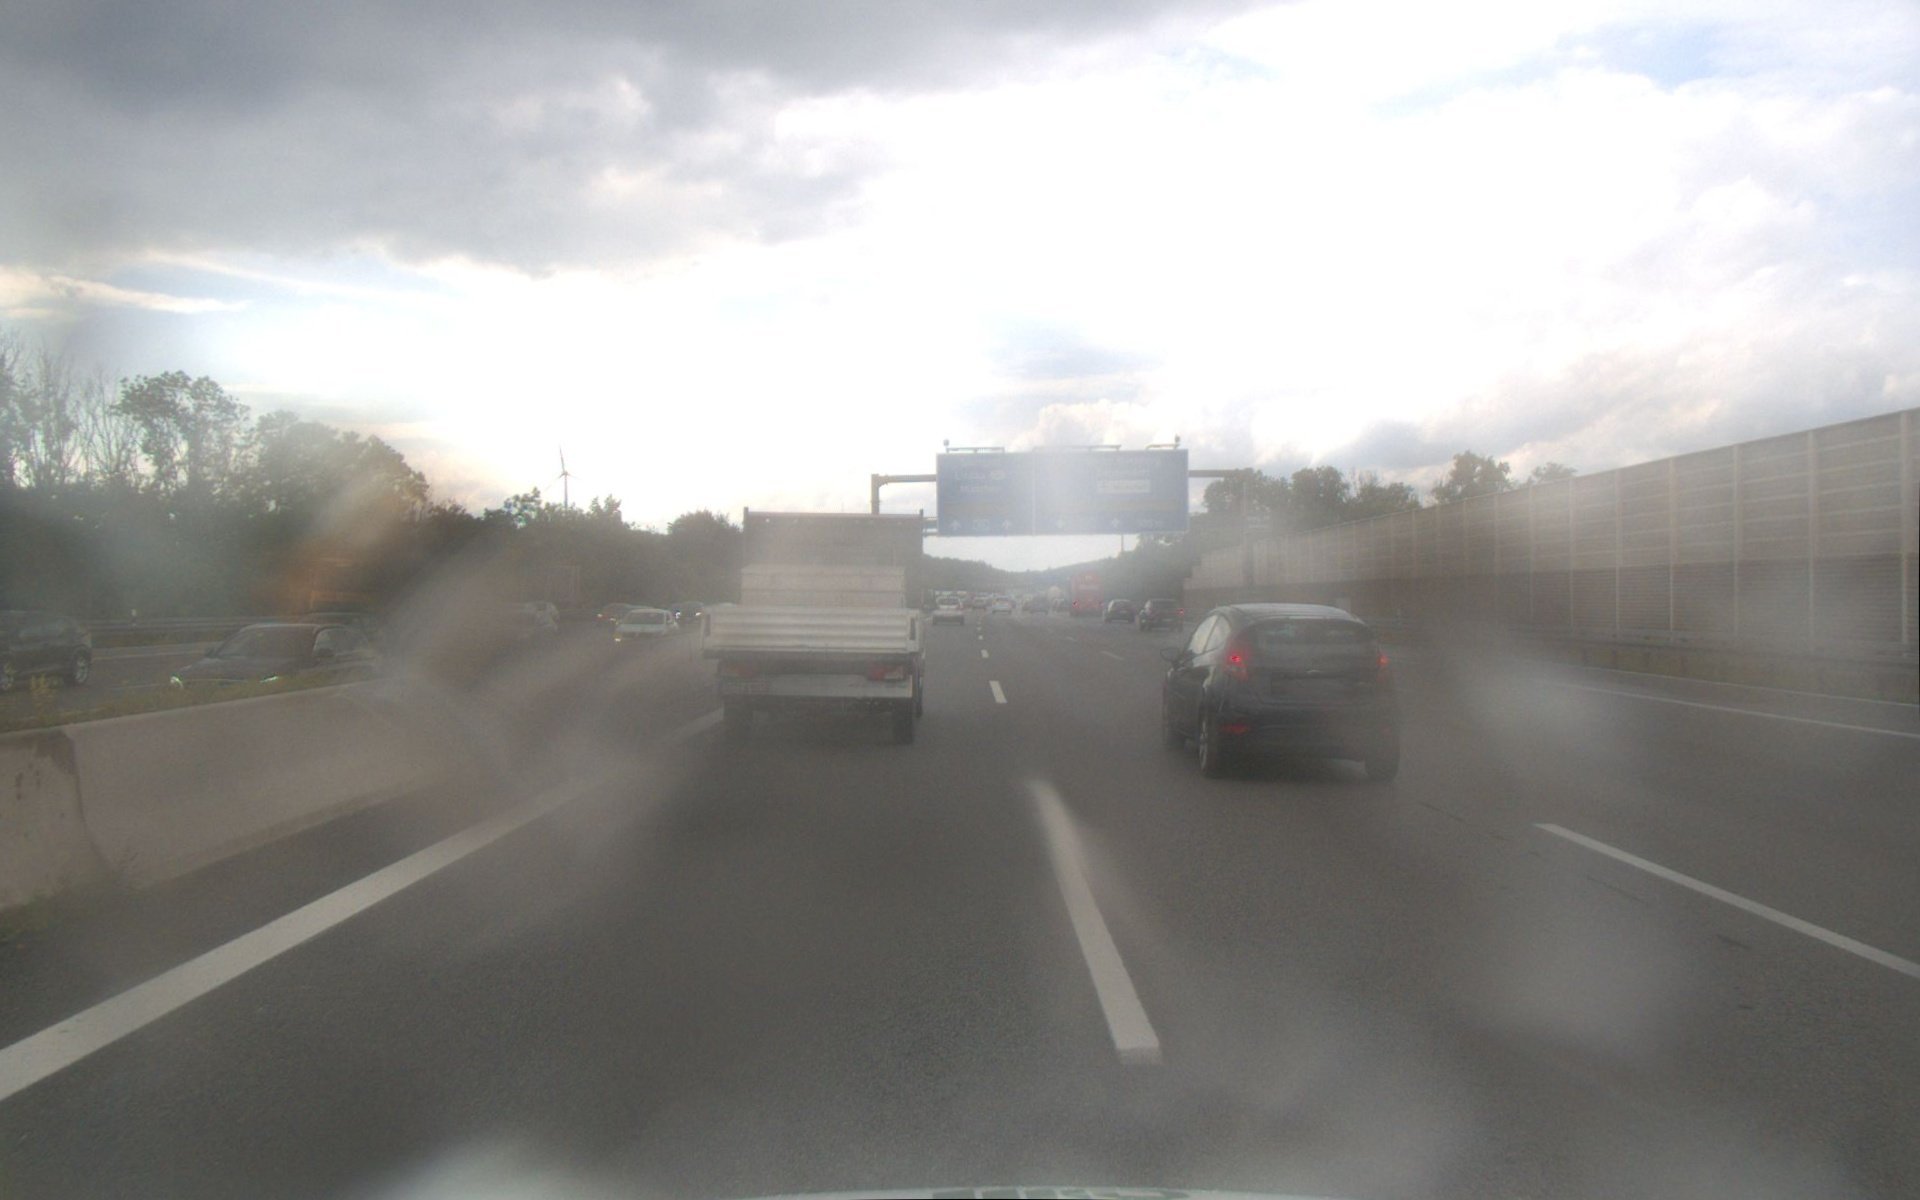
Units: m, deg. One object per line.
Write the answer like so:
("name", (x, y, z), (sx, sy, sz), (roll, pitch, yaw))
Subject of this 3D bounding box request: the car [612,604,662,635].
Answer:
("car", (-17.786, 1.053, 91.280), (1.687, 1.631, 4.913), (2, 0, 0))

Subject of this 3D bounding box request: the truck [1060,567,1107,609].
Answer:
("truck", (11.340, -1.145, 153.028), (3.089, 3.664, 12.696), (1, 1, -1))

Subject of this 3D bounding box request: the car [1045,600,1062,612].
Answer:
("car", (13.169, 0.877, 232.655), (1.928, 1.588, 4.431), (0, 0, -2))

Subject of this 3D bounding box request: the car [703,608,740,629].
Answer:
("car", (-17.413, 1.349, 120.781), (1.941, 1.520, 4.913), (0, 0, 0))

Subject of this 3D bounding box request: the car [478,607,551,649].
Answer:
("car", (-18.298, 1.132, 68.133), (1.687, 1.631, 4.519), (2, 0, 0))

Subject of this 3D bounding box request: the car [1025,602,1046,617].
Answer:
("car", (8.147, 1.020, 178.249), (1.928, 1.588, 4.431), (0, 0, -2))

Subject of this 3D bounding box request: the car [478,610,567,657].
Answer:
("car", (-14.902, 1.112, 56.621), (1.687, 1.495, 4.849), (2, 0, 0))

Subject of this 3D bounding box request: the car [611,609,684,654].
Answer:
("car", (-10.846, 1.053, 57.699), (1.688, 1.453, 4.648), (2, 0, -1))

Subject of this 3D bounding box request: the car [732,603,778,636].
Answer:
("car", (-10.472, 0.976, 84.834), (1.687, 1.631, 4.913), (2, 0, 0))

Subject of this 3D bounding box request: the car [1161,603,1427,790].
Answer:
("car", (2.897, 0.766, 15.190), (1.682, 1.442, 4.279), (0, 0, 1))

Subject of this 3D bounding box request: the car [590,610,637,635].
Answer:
("car", (-21.887, 1.407, 104.607), (1.941, 1.520, 4.913), (0, 0, 0))

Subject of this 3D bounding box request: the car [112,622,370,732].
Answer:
("car", (-11.067, 1.126, 25.935), (1.687, 1.453, 5.230), (2, 0, 0))

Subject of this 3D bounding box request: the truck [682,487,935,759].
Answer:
("truck", (-1.448, 0.160, 18.786), (2.260, 2.482, 7.148), (1, 1, -1))

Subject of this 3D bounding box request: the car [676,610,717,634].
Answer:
("car", (-17.849, 1.478, 112.027), (1.941, 1.520, 4.913), (0, 0, 0))

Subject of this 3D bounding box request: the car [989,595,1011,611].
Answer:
("car", (4.008, 0.340, 166.739), (1.928, 1.588, 4.431), (0, 0, -1))

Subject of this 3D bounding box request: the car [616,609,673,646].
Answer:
("car", (-14.774, 1.242, 77.627), (1.687, 1.631, 4.644), (2, 0, 0))

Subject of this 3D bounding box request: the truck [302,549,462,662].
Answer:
("truck", (-22.409, 0.200, 64.816), (2.855, 4.084, 9.583), (0, 0, 0))

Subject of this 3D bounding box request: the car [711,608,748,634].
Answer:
("car", (-14.545, 1.310, 104.564), (1.688, 1.520, 4.912), (2, 0, -1))

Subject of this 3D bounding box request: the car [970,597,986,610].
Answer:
("car", (2.272, 0.442, 215.304), (1.928, 1.588, 4.432), (0, 0, -1))

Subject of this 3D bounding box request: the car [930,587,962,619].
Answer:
("car", (-0.732, 0.143, 89.267), (1.682, 1.652, 4.279), (0, 1, 0))

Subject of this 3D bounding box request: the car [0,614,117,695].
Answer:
("car", (-18.766, 1.037, 32.812), (1.687, 1.453, 4.519), (2, 0, 0))

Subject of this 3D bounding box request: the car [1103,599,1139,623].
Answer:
("car", (10.746, 0.728, 110.594), (1.844, 1.588, 4.431), (0, 0, -1))

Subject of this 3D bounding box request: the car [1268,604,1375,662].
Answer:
("car", (9.434, 0.825, 43.503), (1.910, 1.443, 4.232), (0, 0, 0))

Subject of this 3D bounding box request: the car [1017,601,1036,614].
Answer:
("car", (8.019, 0.946, 200.755), (1.928, 1.588, 4.430), (0, 0, -3))

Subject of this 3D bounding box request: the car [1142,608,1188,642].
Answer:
("car", (9.967, 1.203, 80.684), (1.843, 1.569, 4.434), (0, 0, 1))

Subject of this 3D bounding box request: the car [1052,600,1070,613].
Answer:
("car", (12.770, 0.797, 208.770), (1.928, 1.588, 4.431), (0, 0, -2))
